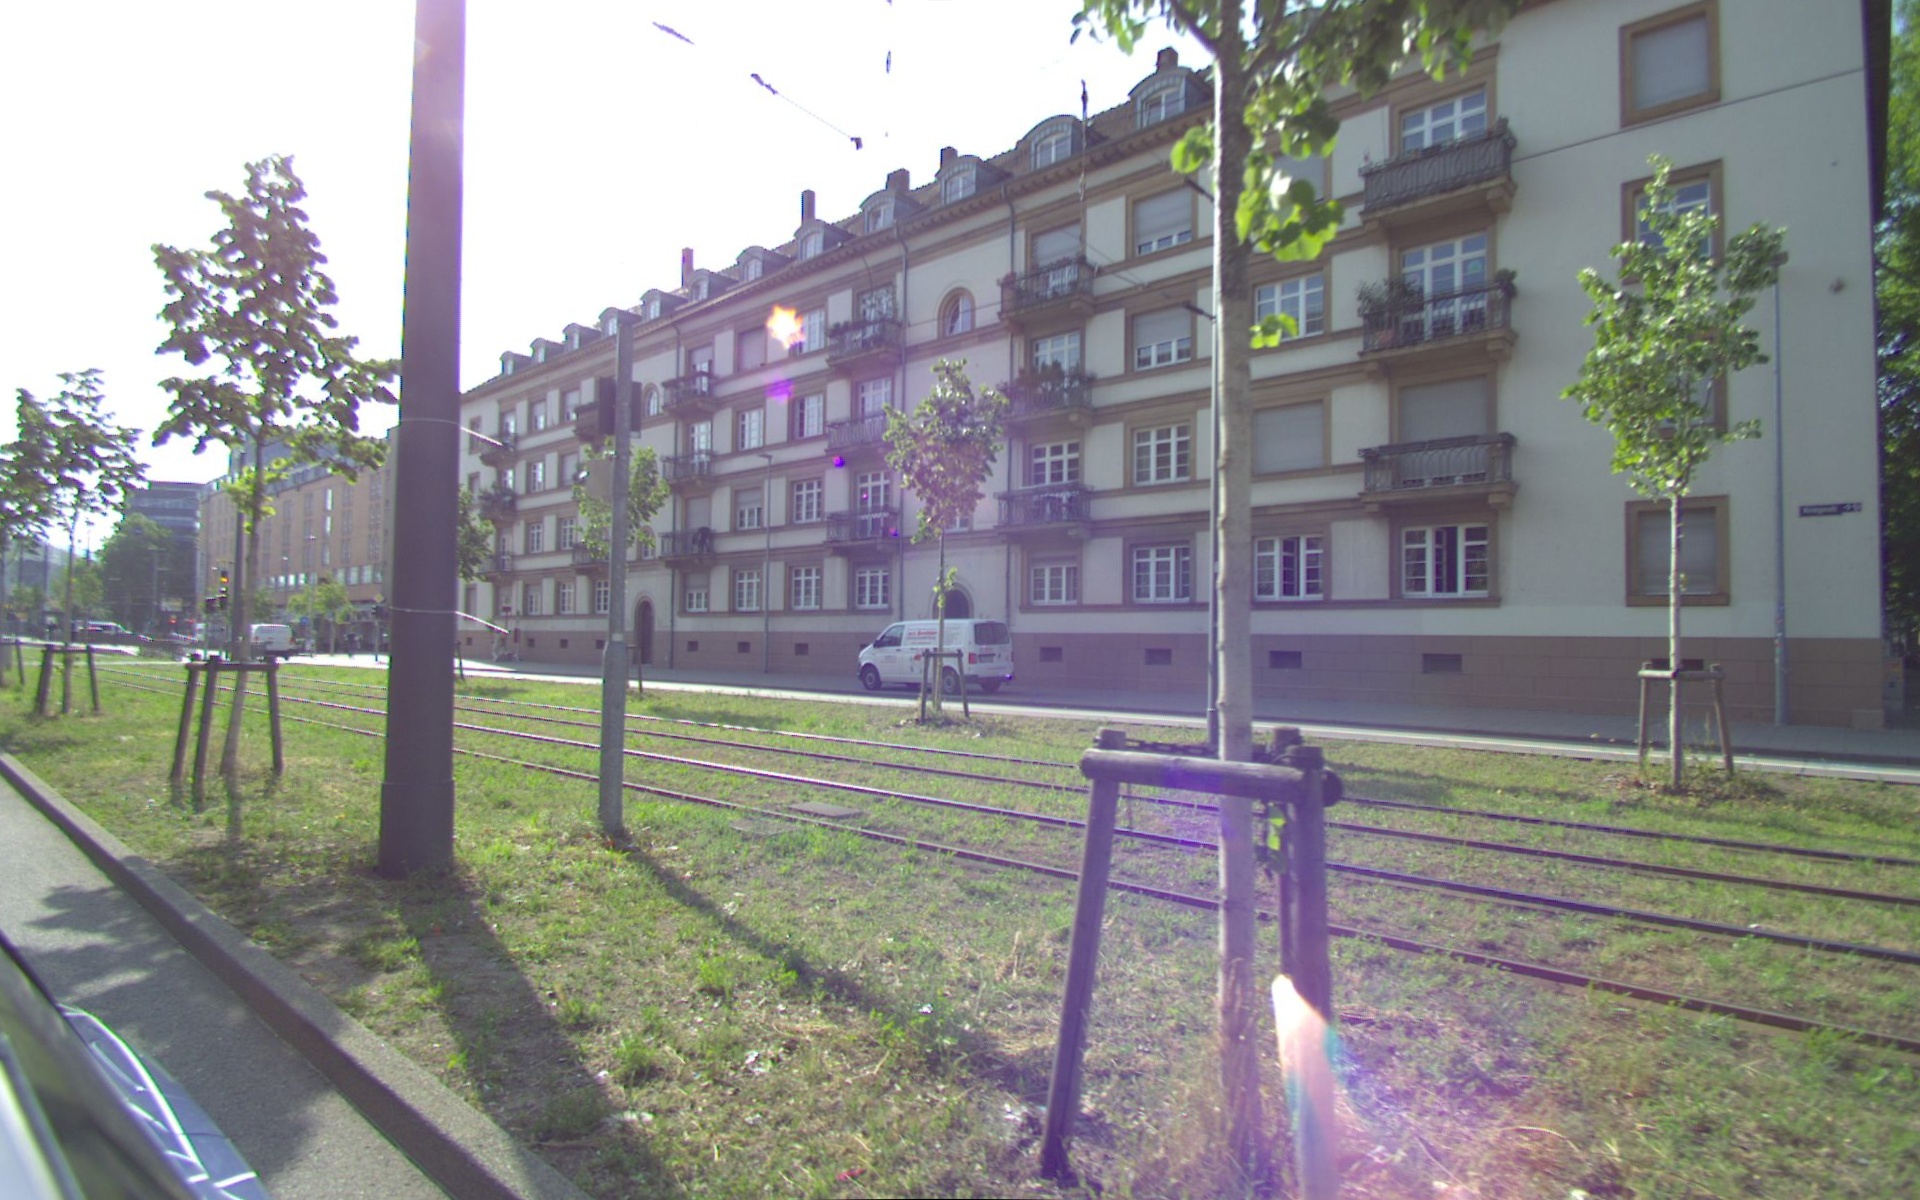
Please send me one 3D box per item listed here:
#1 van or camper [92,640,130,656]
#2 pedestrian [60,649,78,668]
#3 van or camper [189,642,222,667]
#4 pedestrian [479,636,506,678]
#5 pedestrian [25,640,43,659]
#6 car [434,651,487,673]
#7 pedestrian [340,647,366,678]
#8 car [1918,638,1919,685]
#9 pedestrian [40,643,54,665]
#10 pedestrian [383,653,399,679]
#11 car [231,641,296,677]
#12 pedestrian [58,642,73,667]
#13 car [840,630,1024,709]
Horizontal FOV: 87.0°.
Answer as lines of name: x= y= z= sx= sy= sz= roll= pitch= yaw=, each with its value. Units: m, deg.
van or camper: x=-120.311 y=6.739 z=143.455 sx=3.922 sy=2.228 sz=1.938 roll=2 pitch=-3 yaw=-39
pedestrian: x=-72.844 y=4.785 z=82.740 sx=0.803 sy=1.542 sz=0.675 roll=0 pitch=-3 yaw=11
van or camper: x=-88.818 y=6.360 z=119.074 sx=5.351 sy=2.823 sz=1.972 roll=-2 pitch=-4 yaw=42
pedestrian: x=-23.636 y=2.854 z=51.151 sx=1.156 sy=2.084 sz=0.833 roll=-2 pitch=-3 yaw=43
pedestrian: x=-86.961 y=4.636 z=94.995 sx=0.825 sy=1.760 sz=0.784 roll=1 pitch=-4 yaw=5
car: x=-37.818 y=4.649 z=76.599 sx=4.548 sy=1.612 sz=1.746 roll=-2 pitch=-4 yaw=38
pedestrian: x=-37.463 y=3.833 z=62.473 sx=0.856 sy=1.882 sz=1.066 roll=0 pitch=-3 yaw=14
car: x=37.153 y=2.237 z=36.251 sx=3.998 sy=1.763 sz=1.972 roll=-2 pitch=-3 yaw=42
pedestrian: x=-79.383 y=4.715 z=87.962 sx=0.795 sy=1.901 sz=0.555 roll=3 pitch=-4 yaw=-44
pedestrian: x=-35.485 y=4.085 z=63.123 sx=0.669 sy=1.595 sz=0.810 roll=1 pitch=-3 yaw=-15
car: x=-39.245 y=3.290 z=57.002 sx=5.047 sy=1.909 sz=1.971 roll=-2 pitch=-4 yaw=44
pedestrian: x=-67.570 y=4.119 z=76.465 sx=0.939 sy=1.886 sz=0.731 roll=-2 pitch=-4 yaw=43
car: x=-0.867 y=1.832 z=27.840 sx=5.152 sy=1.933 sz=1.972 roll=-2 pitch=-2 yaw=43
